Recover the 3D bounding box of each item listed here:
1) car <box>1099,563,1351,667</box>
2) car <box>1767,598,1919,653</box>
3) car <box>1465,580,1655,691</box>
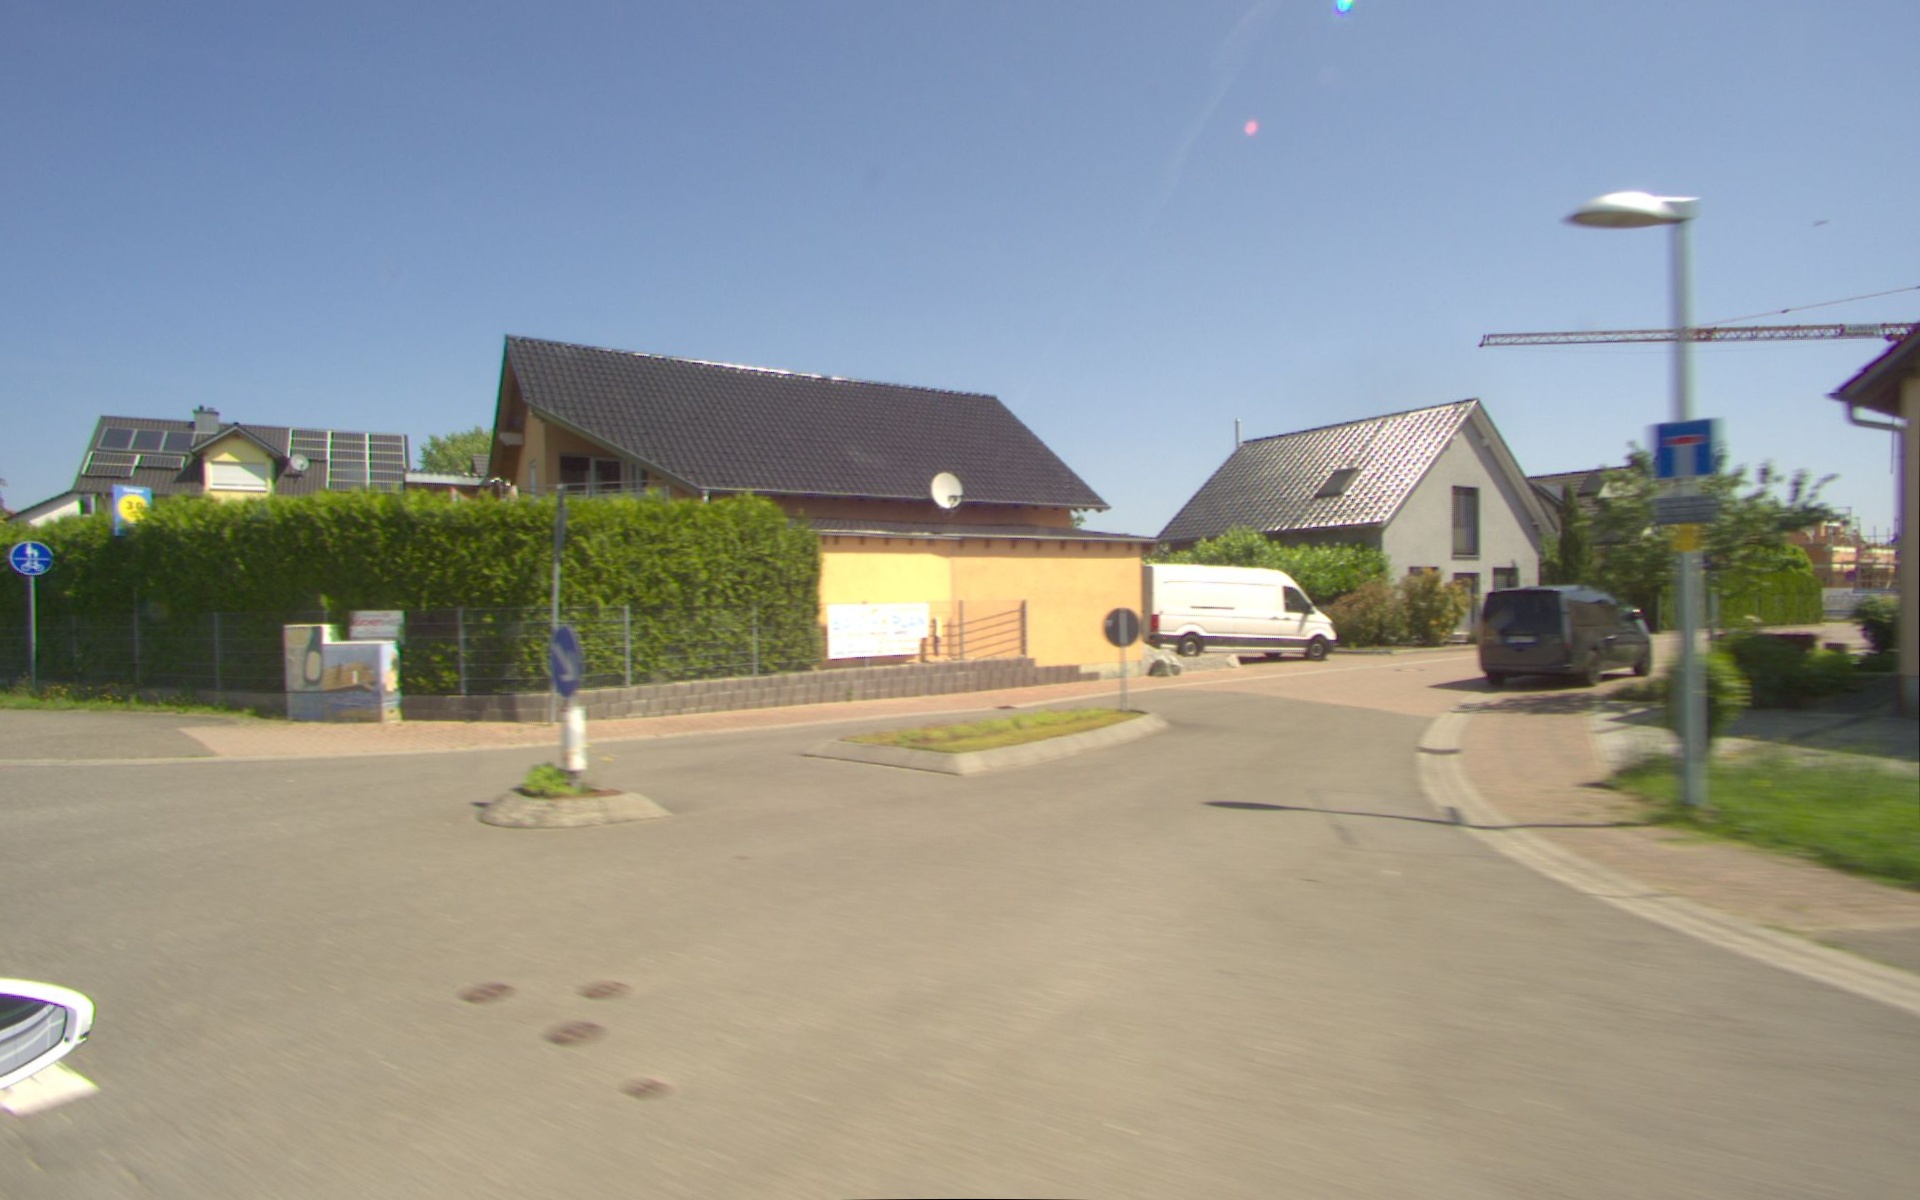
[{"bbox_3d":[7.421,0.344,27.950,6.762,2.664,2.451,0,2,-24],"label":"car"},{"bbox_3d":[26.126,0.721,29.340,1.730,1.497,3.537,-1,0,-33],"label":"car"},{"bbox_3d":[12.578,0.673,20.878,4.441,2.040,1.984,-2,-1,-39],"label":"car"}]
